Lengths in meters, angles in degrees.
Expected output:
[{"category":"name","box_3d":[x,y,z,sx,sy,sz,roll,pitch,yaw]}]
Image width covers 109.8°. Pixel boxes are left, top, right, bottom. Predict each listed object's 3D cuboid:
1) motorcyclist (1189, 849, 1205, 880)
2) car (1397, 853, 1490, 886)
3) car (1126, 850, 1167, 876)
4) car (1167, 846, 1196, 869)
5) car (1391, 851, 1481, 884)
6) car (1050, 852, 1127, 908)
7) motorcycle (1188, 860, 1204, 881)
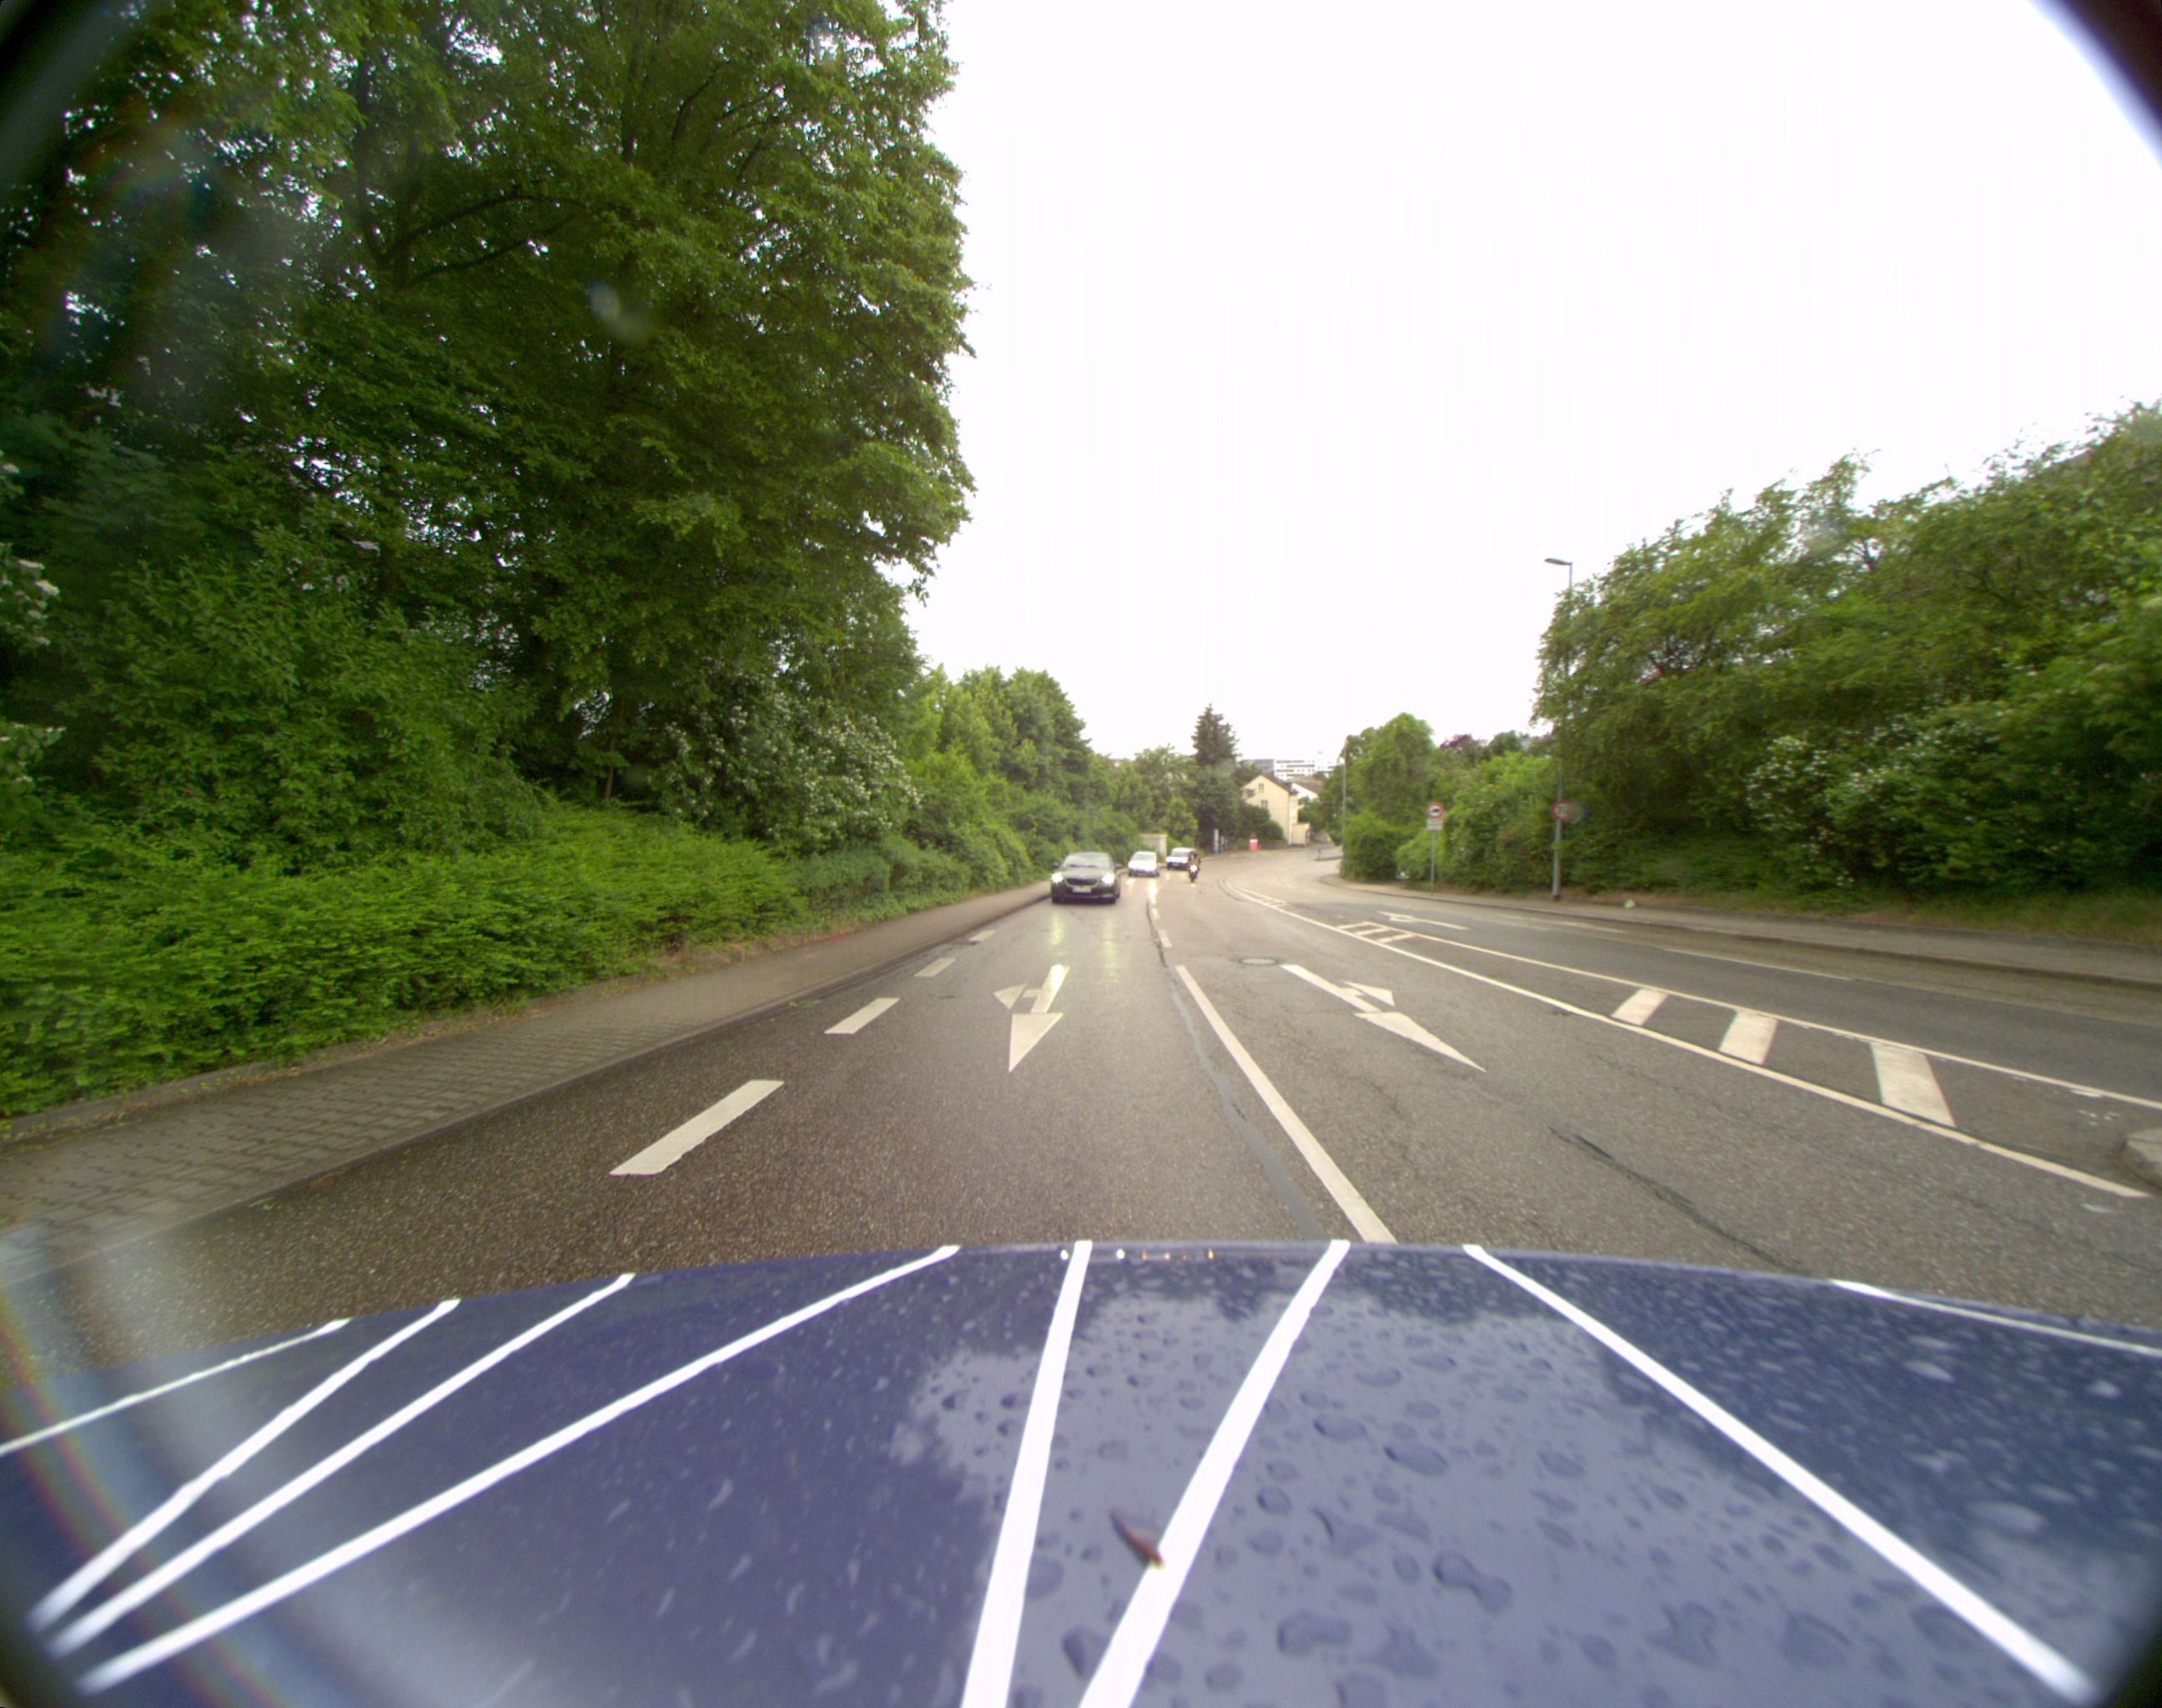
[{"category":"motorcyclist","box_3d":[6.221,0.558,40.823,0.766,1.633,0.675,3,2,12]},{"category":"car","box_3d":[18.551,0.802,39.048,3.908,1.432,1.812,-4,0,9]},{"category":"car","box_3d":[4.152,0.499,47.582,1.815,1.431,4.004,4,2,16]},{"category":"car","box_3d":[8.508,0.262,64.263,1.775,1.765,4.004,4,2,16]},{"category":"car","box_3d":[19.446,0.718,41.758,3.995,1.527,2.001,-4,0,8]},{"category":"car","box_3d":[0.323,0.694,22.887,1.871,1.497,4.199,1,0,6]},{"category":"motorcycle","box_3d":[6.183,0.871,40.745,0.692,1.047,1.748,3,3,12]}]
